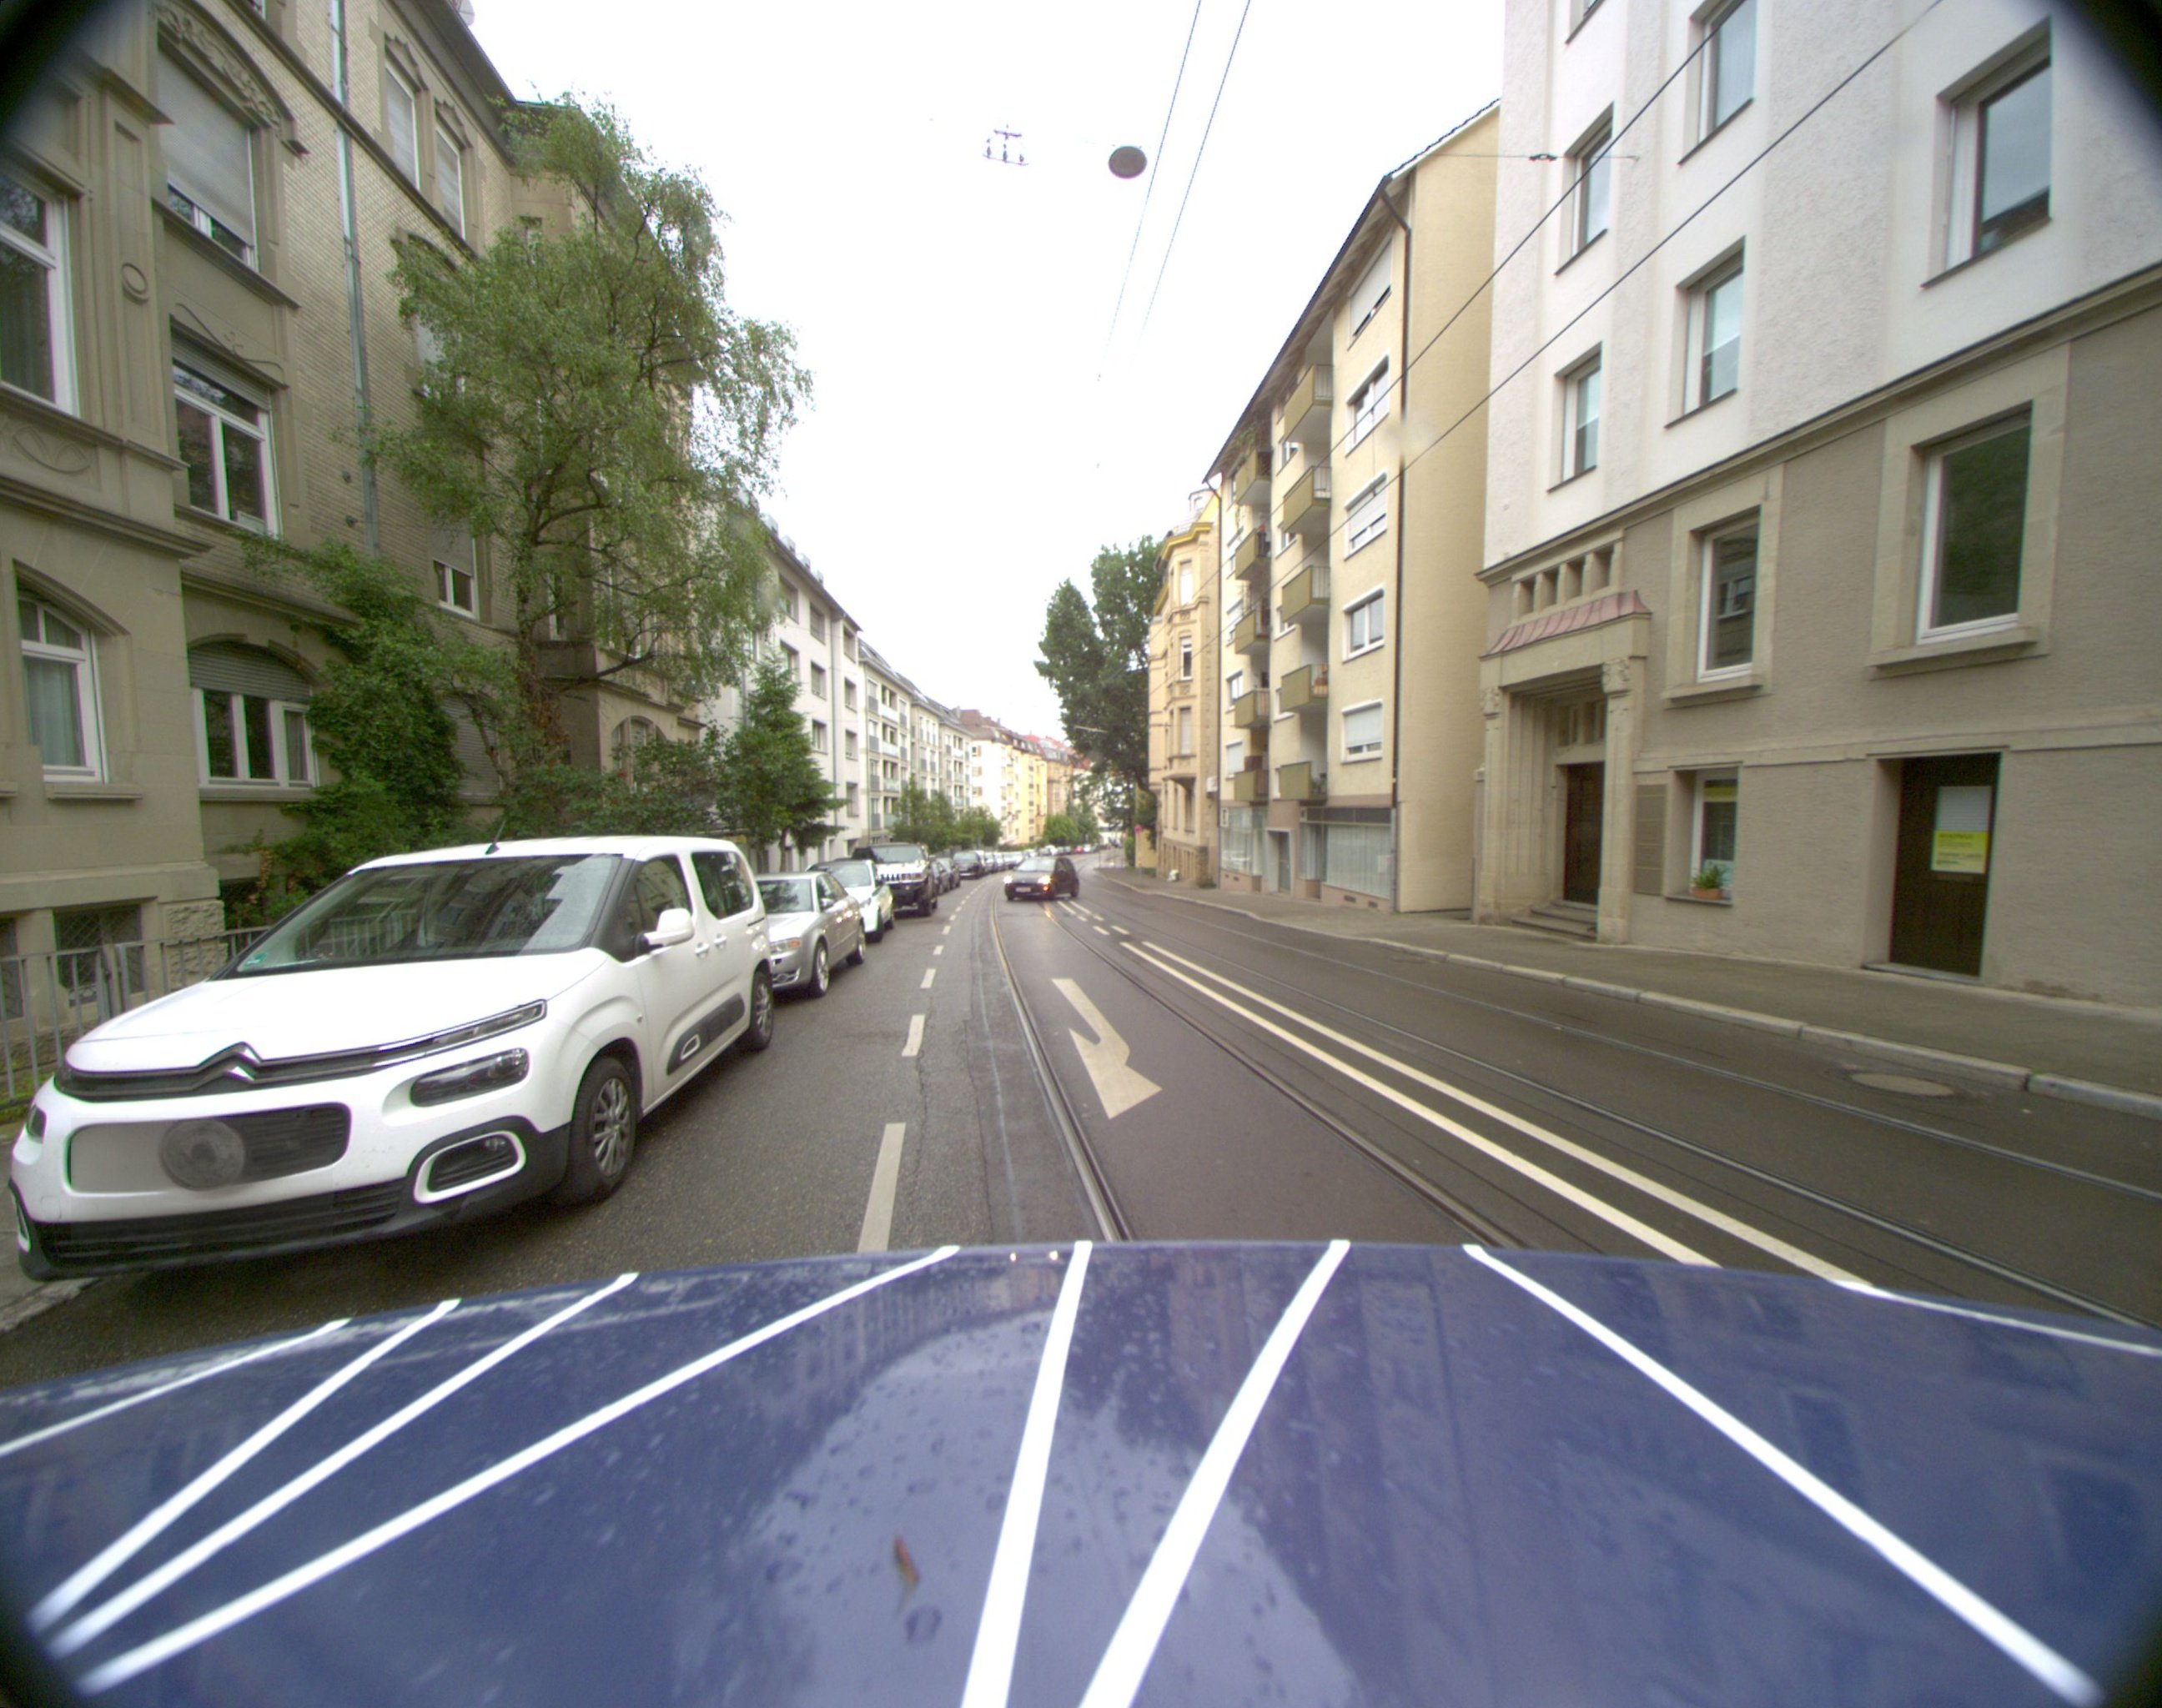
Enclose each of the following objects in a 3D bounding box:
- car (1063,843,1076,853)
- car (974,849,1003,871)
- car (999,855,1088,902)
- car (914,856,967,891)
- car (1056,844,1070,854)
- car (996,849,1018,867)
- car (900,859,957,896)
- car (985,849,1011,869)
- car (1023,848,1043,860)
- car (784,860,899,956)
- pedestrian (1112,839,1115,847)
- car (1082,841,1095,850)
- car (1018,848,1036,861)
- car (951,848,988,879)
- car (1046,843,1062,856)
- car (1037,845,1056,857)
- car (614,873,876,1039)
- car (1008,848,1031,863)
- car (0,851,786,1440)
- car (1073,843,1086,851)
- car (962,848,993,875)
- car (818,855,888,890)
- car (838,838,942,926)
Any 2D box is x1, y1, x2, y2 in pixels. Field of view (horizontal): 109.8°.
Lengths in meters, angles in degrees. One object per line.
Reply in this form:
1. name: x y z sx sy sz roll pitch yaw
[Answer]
1. car: -1.871 -0.989 123.840 1.658 1.360 3.637 -2 2 8
2. car: -7.350 0.428 60.791 1.837 1.647 4.685 -1 1 -1
3. car: -1.194 0.781 26.360 1.737 1.445 4.005 -1 1 18
4. car: -6.504 0.845 35.631 1.799 1.429 4.609 -2 1 -3
5. car: -2.781 -0.857 118.736 1.590 1.434 3.477 -2 2 6
6. car: -7.006 0.366 71.919 1.981 1.576 4.563 -1 1 -5
7. car: -6.164 0.921 31.047 1.683 1.330 3.881 -2 1 -3
8. car: -7.197 0.376 66.306 1.837 1.618 4.662 -1 1 -2
9. car: -5.904 -0.029 93.729 1.721 1.459 4.391 -1 1 6
10. car: -4.585 0.942 15.016 1.565 1.537 3.581 -3 1 -9
11. pedestrian: 7.078 -2.466 167.056 0.649 1.652 0.650 0 1 4
12. car: 1.457 -1.574 139.691 1.612 1.434 3.690 -1 2 13
13. car: -6.329 0.068 89.056 1.600 1.416 3.515 -1 1 4
14. car: -7.157 0.547 49.201 1.948 1.785 4.818 -2 1 -4
15. car: -3.867 -0.668 109.728 1.798 1.613 3.868 -2 2 6
16. car: -4.665 -0.432 104.523 1.797 1.444 4.104 -2 2 9
17. car: -3.905 1.050 9.736 1.754 1.392 4.475 -3 1 -7
18. car: -6.572 0.148 81.565 1.862 1.507 4.789 -1 1 2
19. car: -3.301 0.904 4.603 1.803 1.755 4.459 -3 1 -9
20. car: -0.266 -1.248 131.116 1.556 1.360 3.126 -1 2 13
21. car: -7.336 0.501 54.359 1.783 1.785 4.469 -1 1 -3
22. car: -10.634 0.824 35.689 1.817 1.418 4.153 -3 1 2
23. car: -5.089 0.655 21.028 2.135 2.002 5.346 -3 1 -8
